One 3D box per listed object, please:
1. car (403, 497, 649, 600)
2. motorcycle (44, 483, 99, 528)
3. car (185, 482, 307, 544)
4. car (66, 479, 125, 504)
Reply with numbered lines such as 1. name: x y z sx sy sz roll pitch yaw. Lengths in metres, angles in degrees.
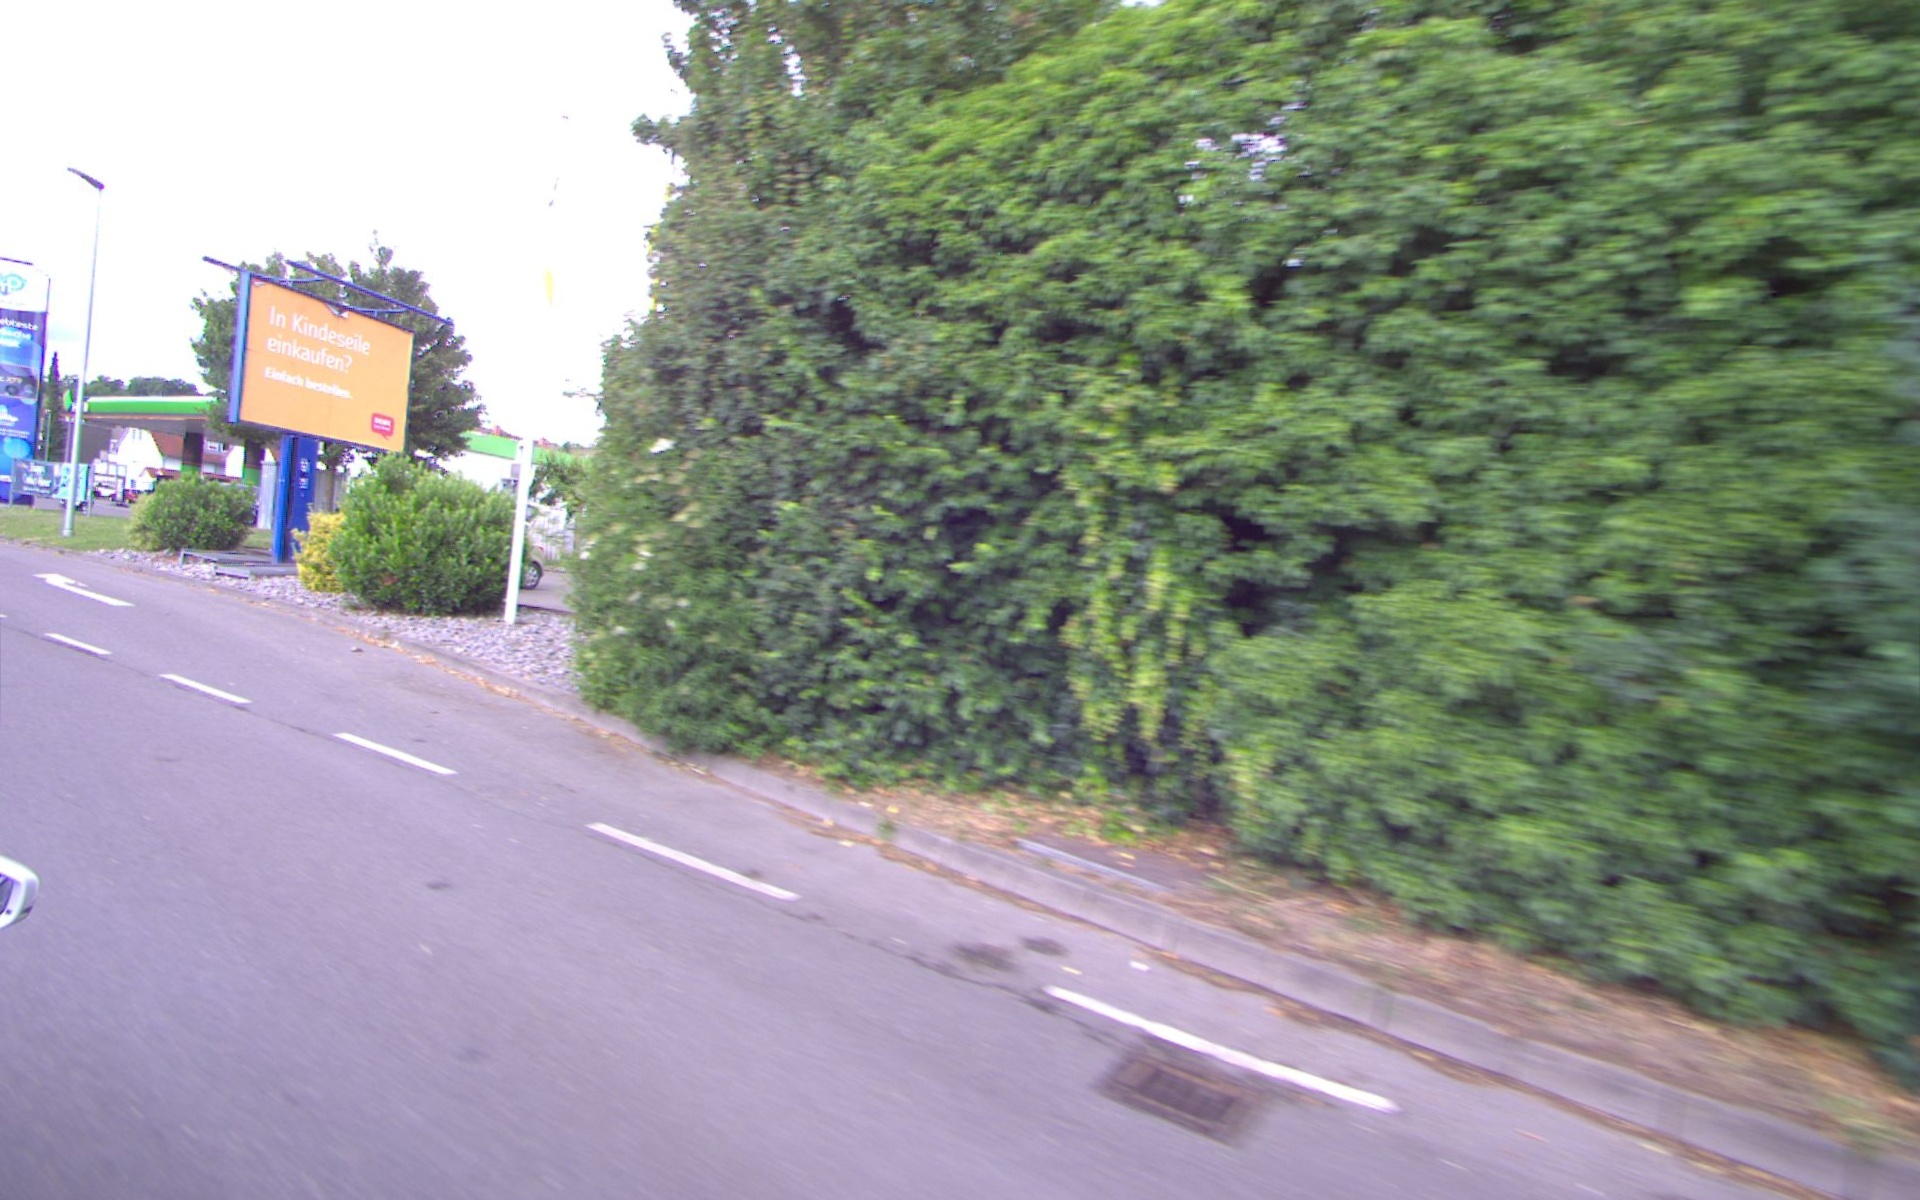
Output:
1. car: -9.442 -1.078 22.260 2.892 1.677 4.027 7 1 22
2. motorcycle: -31.436 -3.340 35.585 1.957 1.348 0.856 7 2 32
3. car: -24.327 -2.971 34.232 4.265 1.697 1.821 6 2 31
4. car: -90.198 -11.294 105.029 1.747 1.704 4.225 7 -1 29
